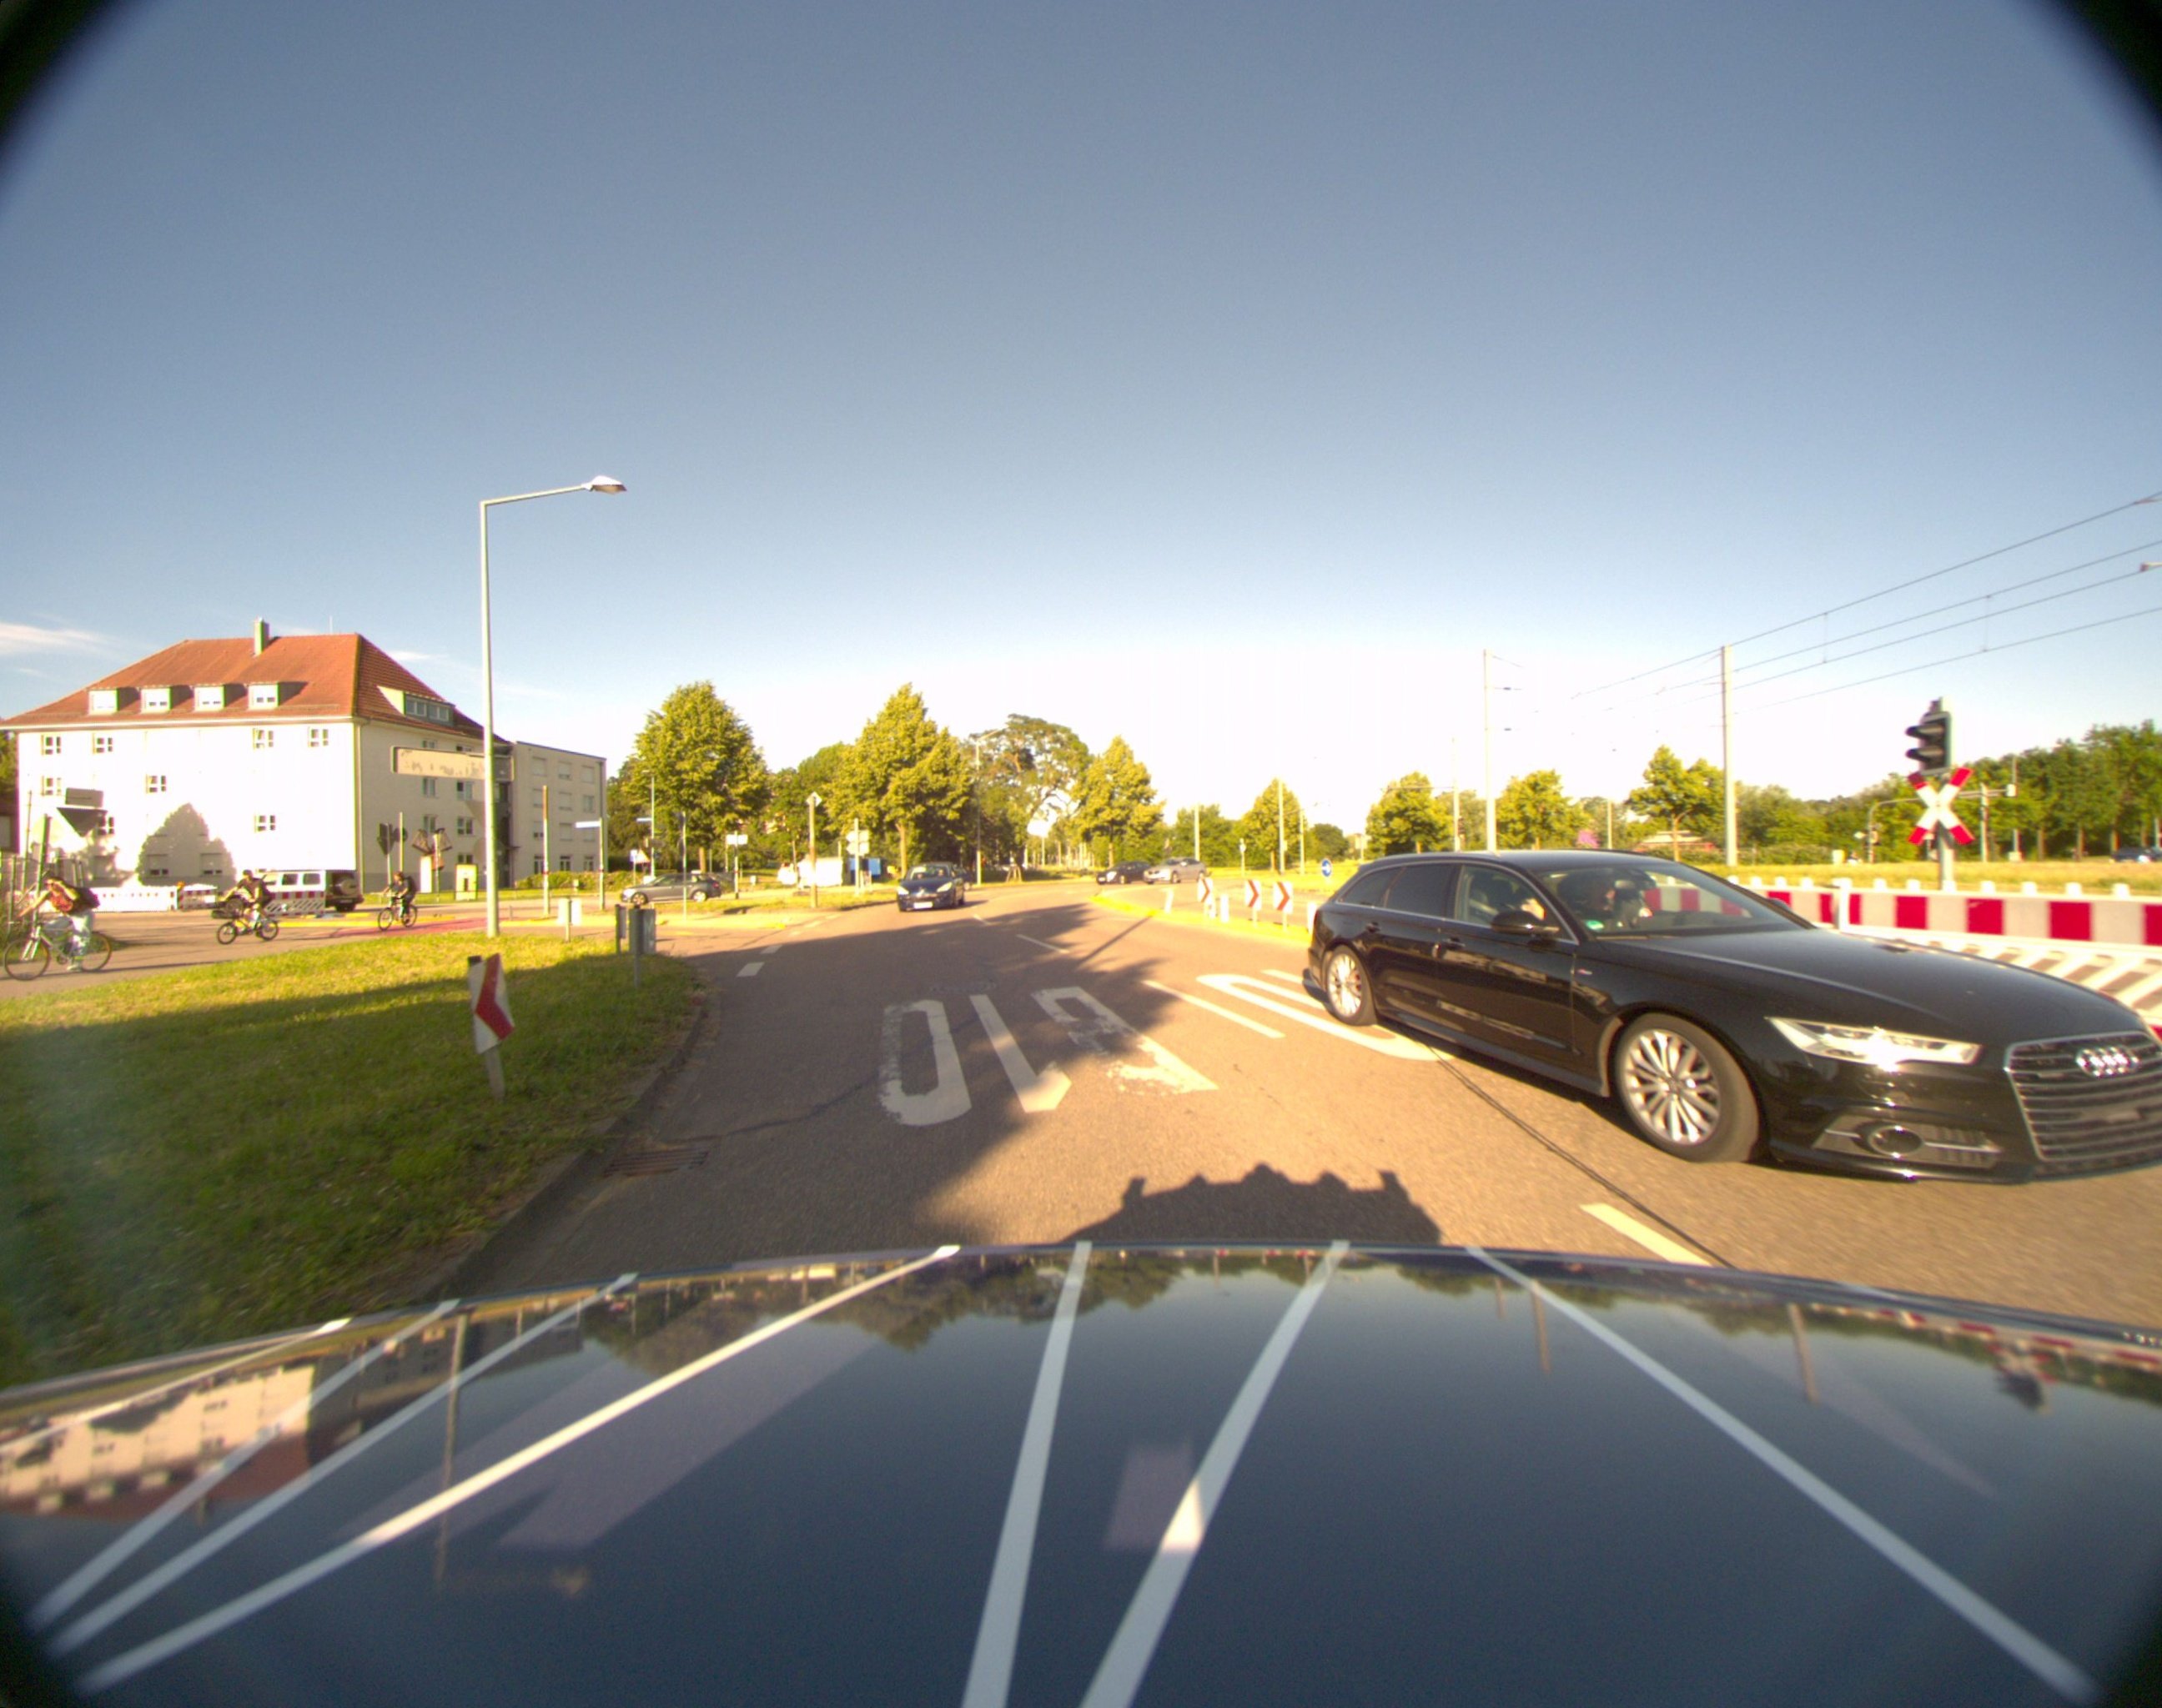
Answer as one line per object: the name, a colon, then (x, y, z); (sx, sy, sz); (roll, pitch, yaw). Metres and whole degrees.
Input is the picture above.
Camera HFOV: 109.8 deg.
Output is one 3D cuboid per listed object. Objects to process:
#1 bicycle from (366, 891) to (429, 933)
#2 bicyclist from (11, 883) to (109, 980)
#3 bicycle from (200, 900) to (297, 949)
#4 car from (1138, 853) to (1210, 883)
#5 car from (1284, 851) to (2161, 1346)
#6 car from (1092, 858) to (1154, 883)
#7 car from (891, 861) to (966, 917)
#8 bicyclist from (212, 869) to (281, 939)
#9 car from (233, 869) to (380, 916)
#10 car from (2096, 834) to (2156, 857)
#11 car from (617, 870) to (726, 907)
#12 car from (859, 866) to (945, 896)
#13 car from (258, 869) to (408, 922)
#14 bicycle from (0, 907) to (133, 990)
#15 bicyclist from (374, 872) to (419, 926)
bicycle: (-19.759, 1.652, 22.002); (0.479, 1.076, 1.642); (-2, 1, -9)
bicyclist: (-16.473, 1.229, 12.283); (0.505, 1.464, 0.833); (-2, 0, -14)
bicycle: (-19.854, 1.654, 18.184); (0.593, 0.955, 1.898); (-2, 1, -15)
car: (5.393, 0.766, 43.577); (1.845, 1.560, 4.537); (-1, 0, 42)
car: (3.242, 0.774, 4.858); (1.790, 1.518, 4.595); (-2, 1, -13)
car: (2.632, 0.983, 47.414); (1.845, 1.419, 3.956); (-1, 0, 39)
car: (-4.756, 1.042, 24.261); (1.763, 1.506, 3.946); (-3, 0, -4)
bicyclist: (-19.849, 1.177, 18.094); (0.593, 1.577, 0.964); (-3, 1, -14)
car: (-33.630, 1.630, 33.085); (4.261, 1.775, 1.894); (-2, 1, -1)
car: (72.495, -0.603, 52.710); (4.016, 1.420, 1.799); (-3, 1, -26)
car: (-18.985, 1.584, 35.466); (4.280, 1.420, 1.846); (-3, 1, -25)
car: (-9.512, 1.394, 40.503); (4.007, 1.369, 1.752); (-3, 1, -38)
car: (-26.649, 1.440, 27.139); (3.560, 1.740, 2.027); (-1, 0, 8)
bicycle: (-16.468, 1.485, 12.296); (0.507, 1.145, 1.603); (-2, 0, -14)
bicyclist: (-19.772, 1.296, 21.972); (0.472, 1.477, 0.915); (-2, 1, -9)
